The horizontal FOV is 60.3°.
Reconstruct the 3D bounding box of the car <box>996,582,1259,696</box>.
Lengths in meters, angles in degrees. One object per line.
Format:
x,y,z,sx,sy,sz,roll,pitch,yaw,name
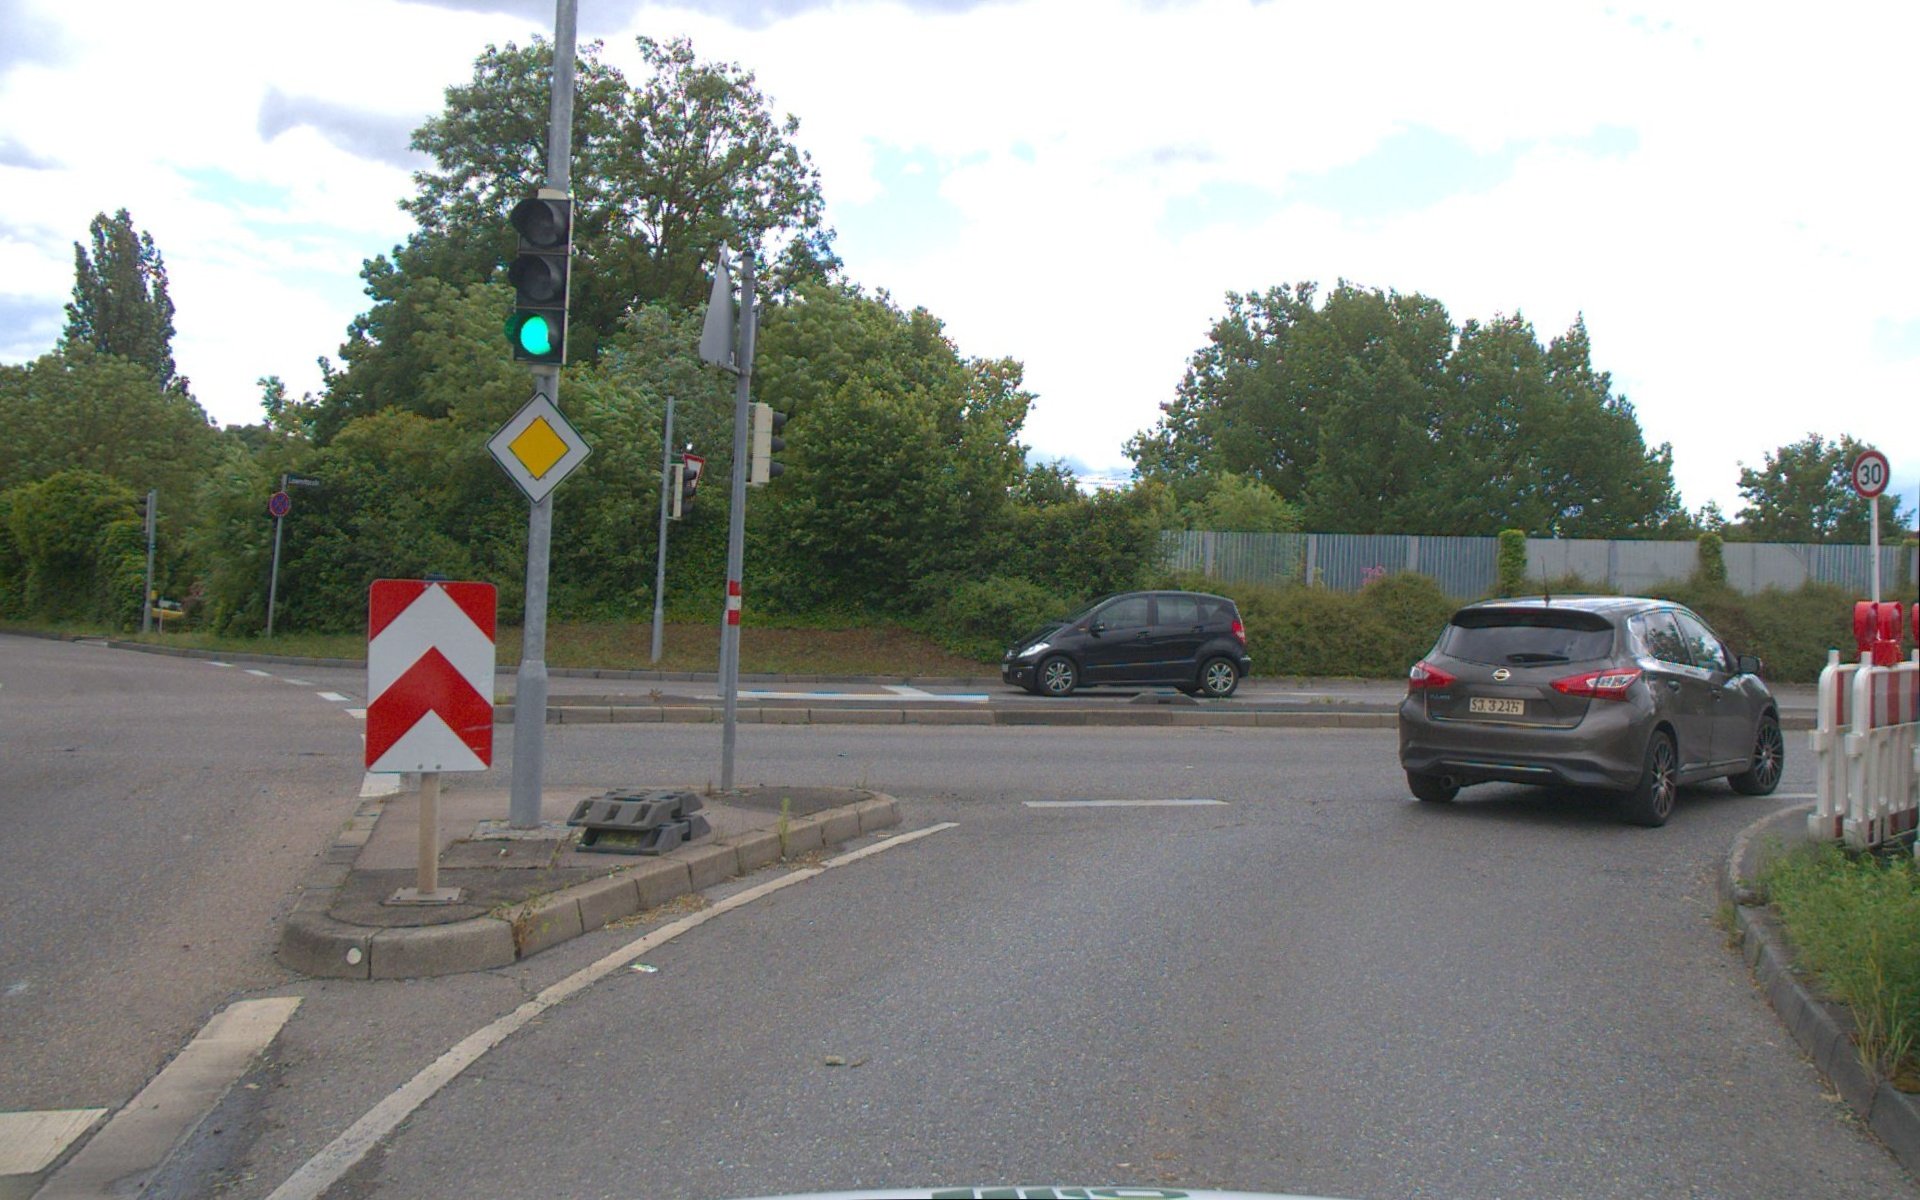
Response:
2.545,0.612,25.503,3.707,1.579,1.639,2,-2,-10,car

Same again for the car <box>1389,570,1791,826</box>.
4.876,0.626,12.474,1.768,1.579,3.983,1,0,37,car
